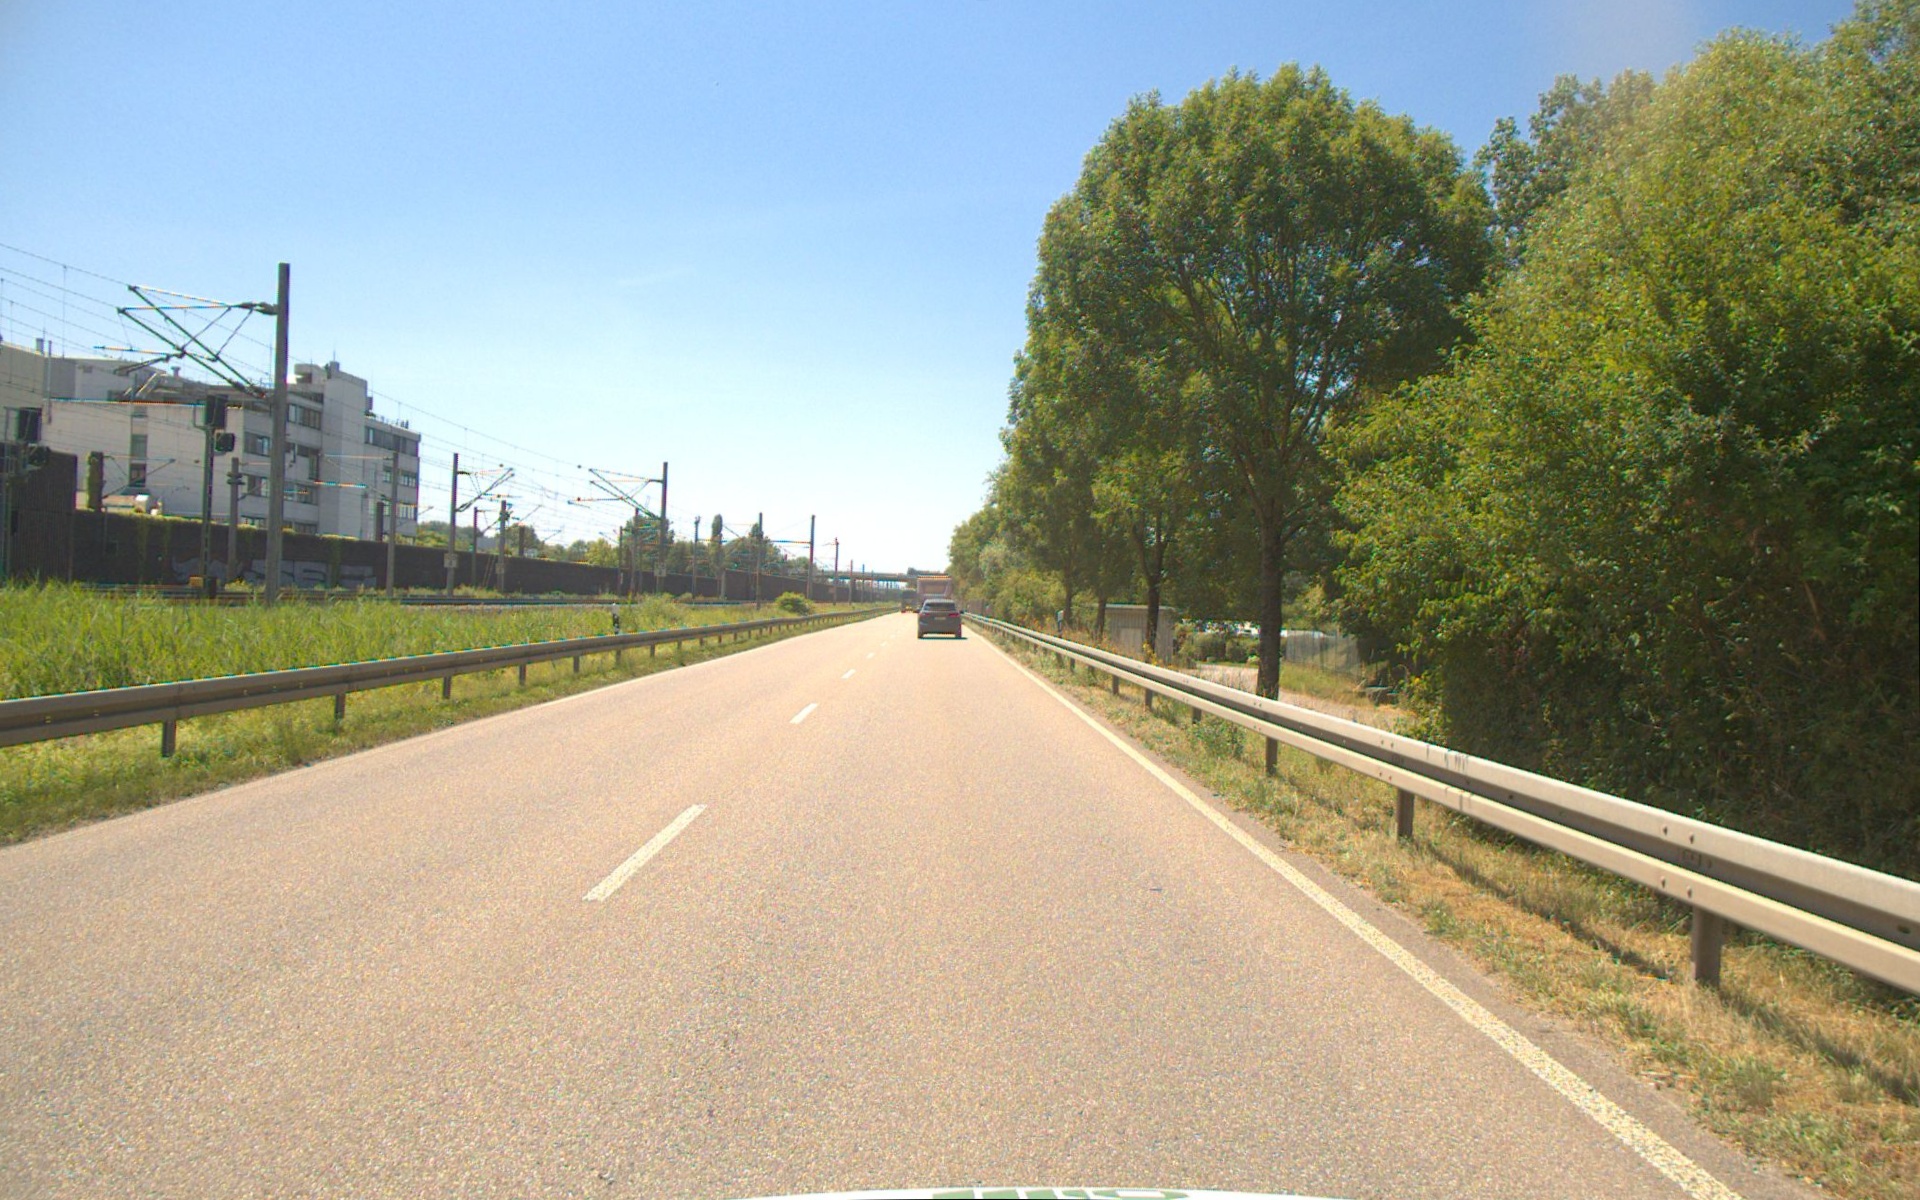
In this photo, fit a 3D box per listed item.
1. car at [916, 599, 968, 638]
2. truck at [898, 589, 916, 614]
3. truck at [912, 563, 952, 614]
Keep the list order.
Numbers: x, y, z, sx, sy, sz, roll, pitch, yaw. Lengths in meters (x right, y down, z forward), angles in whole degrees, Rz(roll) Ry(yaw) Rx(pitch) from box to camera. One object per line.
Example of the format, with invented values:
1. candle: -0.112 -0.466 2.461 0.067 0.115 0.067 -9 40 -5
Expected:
1. car: -0.753 0.728 67.643 1.954 1.534 3.998 0 0 -3
2. truck: -8.109 0.218 251.268 2.604 3.690 10.973 1 0 -2
3. truck: -2.012 -0.754 119.178 2.714 3.485 10.817 1 0 -1
